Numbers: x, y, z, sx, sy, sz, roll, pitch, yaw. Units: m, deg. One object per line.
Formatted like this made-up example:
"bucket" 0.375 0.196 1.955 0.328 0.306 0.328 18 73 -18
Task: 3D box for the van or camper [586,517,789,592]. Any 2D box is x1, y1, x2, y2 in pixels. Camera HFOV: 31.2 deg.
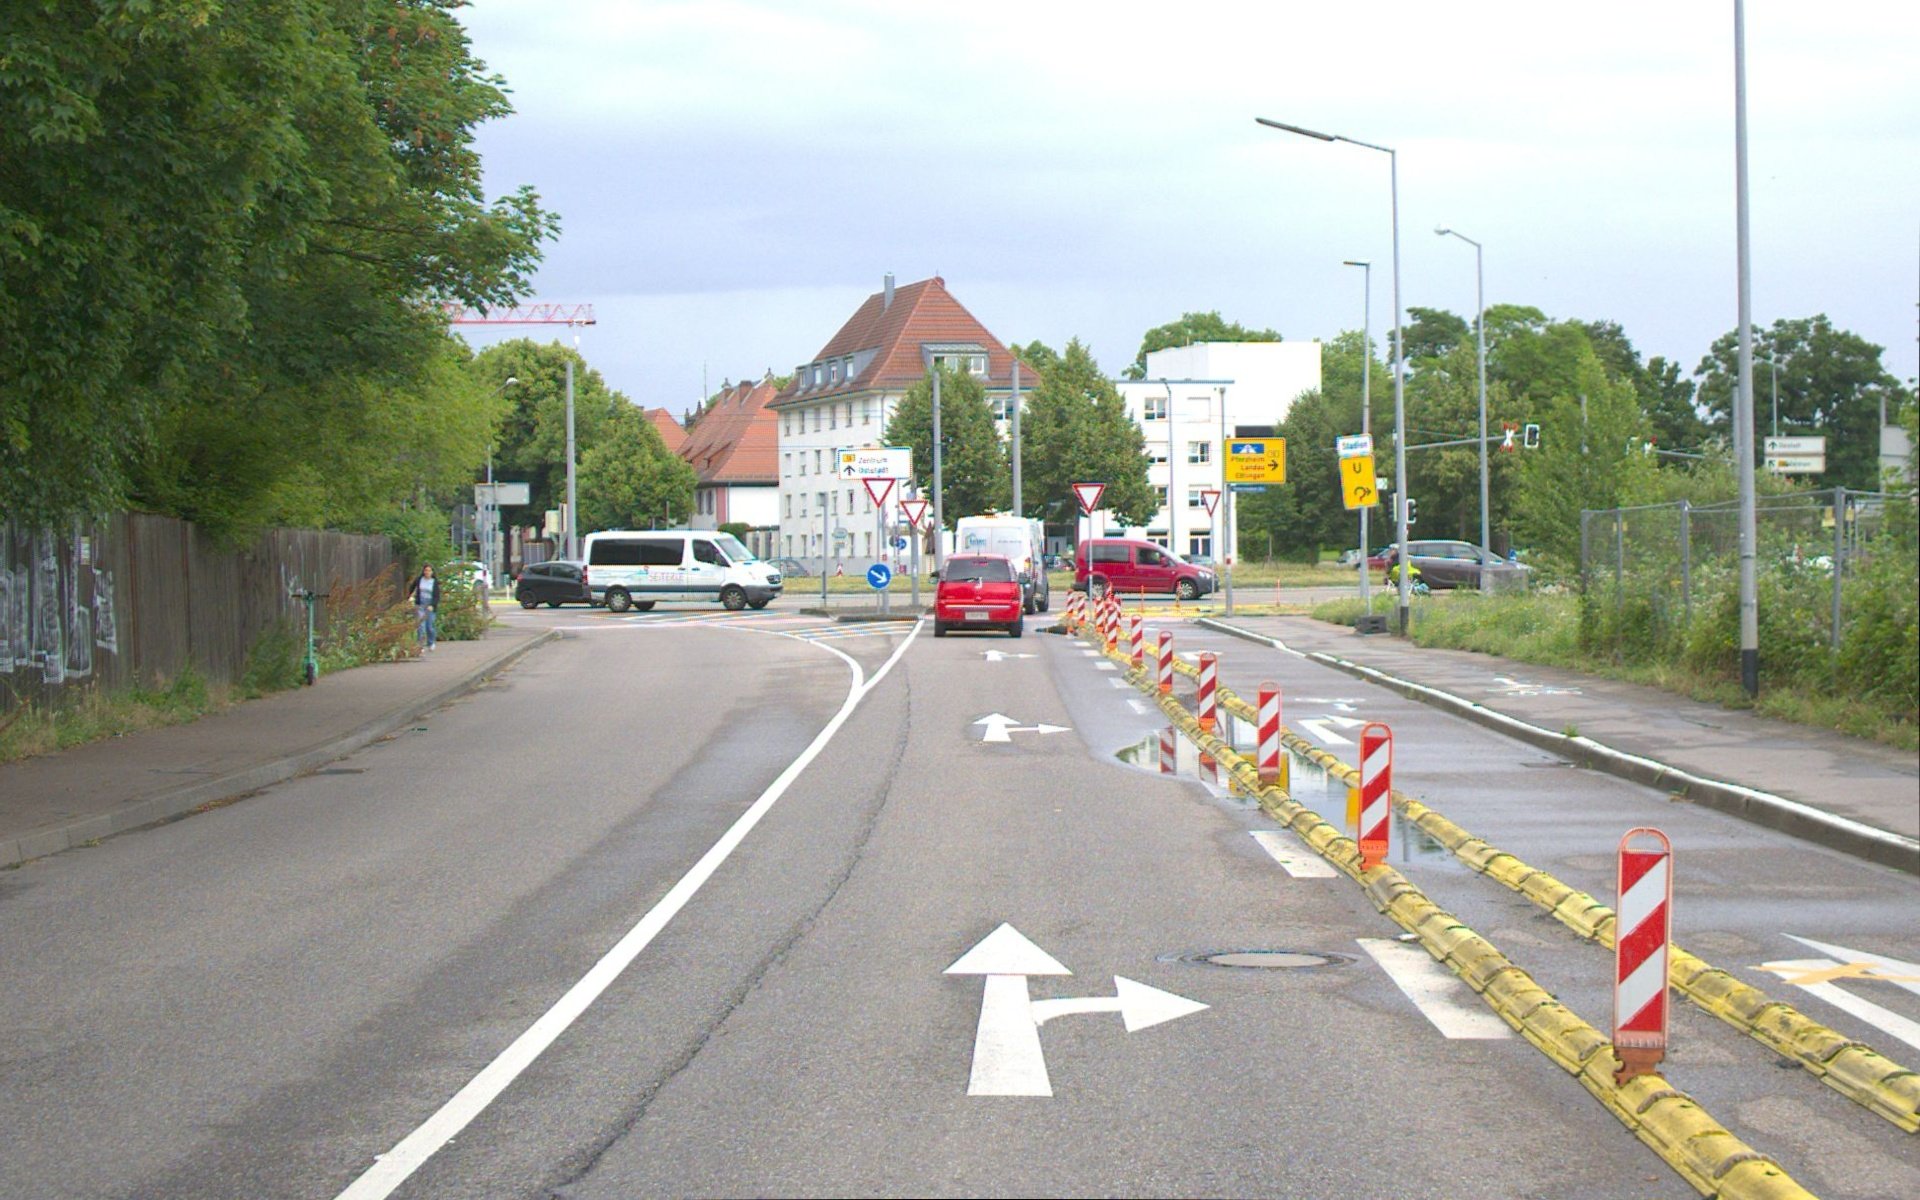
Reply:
"van or camper" -7.973 -1.325 100.514 5.539 2.108 1.998 -1 1 18

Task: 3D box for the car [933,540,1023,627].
"car" 0.355 -0.339 66.439 1.673 1.635 3.627 0 1 1

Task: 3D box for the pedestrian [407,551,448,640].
"pedestrian" -9.193 -0.079 59.374 0.612 1.524 0.724 -1 1 -4

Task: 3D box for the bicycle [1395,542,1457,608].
"bicycle" 11.587 -0.633 85.559 1.477 1.606 0.606 -1 1 4

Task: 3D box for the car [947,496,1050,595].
"car" 1.043 -1.429 90.045 2.195 2.531 4.961 0 1 7

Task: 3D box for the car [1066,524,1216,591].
"car" 5.436 -1.283 102.922 4.196 1.911 2.114 -1 1 12

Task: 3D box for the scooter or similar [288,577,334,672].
"scooter or similar" -8.249 0.304 43.737 0.422 1.166 1.304 -1 1 -5

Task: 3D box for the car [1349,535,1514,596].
"car" 14.405 -1.043 105.078 4.605 1.789 2.110 0 1 43
